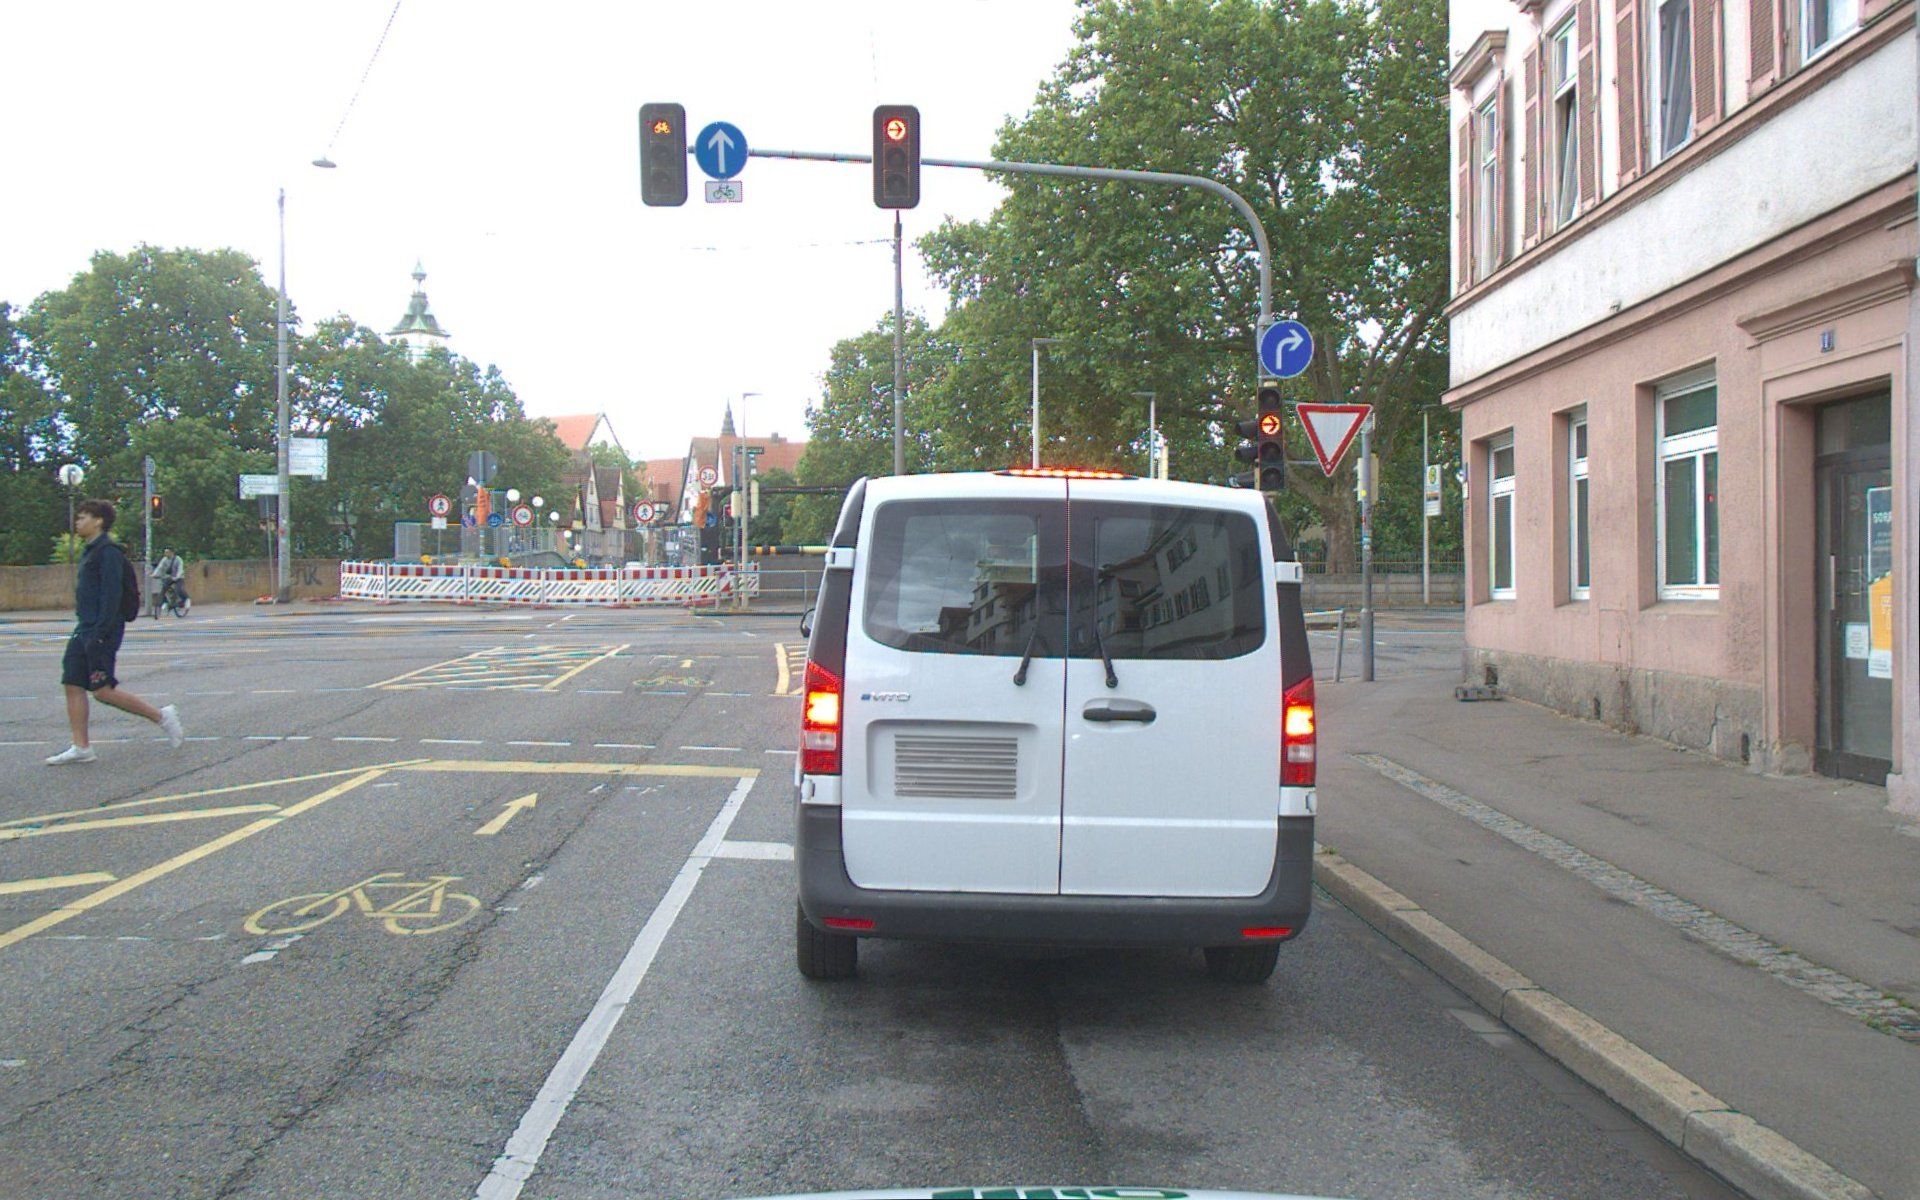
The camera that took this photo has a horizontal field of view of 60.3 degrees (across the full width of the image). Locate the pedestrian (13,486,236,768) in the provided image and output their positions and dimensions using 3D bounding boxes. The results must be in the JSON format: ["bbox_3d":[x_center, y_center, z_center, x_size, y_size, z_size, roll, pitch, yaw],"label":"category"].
[{"bbox_3d":[-5.969,0.169,11.890,1.066,1.919,1.058,1,1,-1],"label":"pedestrian"}]

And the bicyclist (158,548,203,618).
[{"bbox_3d":[-19.633,-0.422,41.658,0.708,1.730,0.811,0,0,3],"label":"bicyclist"}]

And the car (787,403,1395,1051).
[{"bbox_3d":[0.386,0.347,7.638,1.911,2.048,4.698,1,2,-1],"label":"car"}]

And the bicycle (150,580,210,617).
[{"bbox_3d":[-19.665,-0.048,41.740,0.530,0.908,1.881,0,1,3],"label":"bicycle"}]
